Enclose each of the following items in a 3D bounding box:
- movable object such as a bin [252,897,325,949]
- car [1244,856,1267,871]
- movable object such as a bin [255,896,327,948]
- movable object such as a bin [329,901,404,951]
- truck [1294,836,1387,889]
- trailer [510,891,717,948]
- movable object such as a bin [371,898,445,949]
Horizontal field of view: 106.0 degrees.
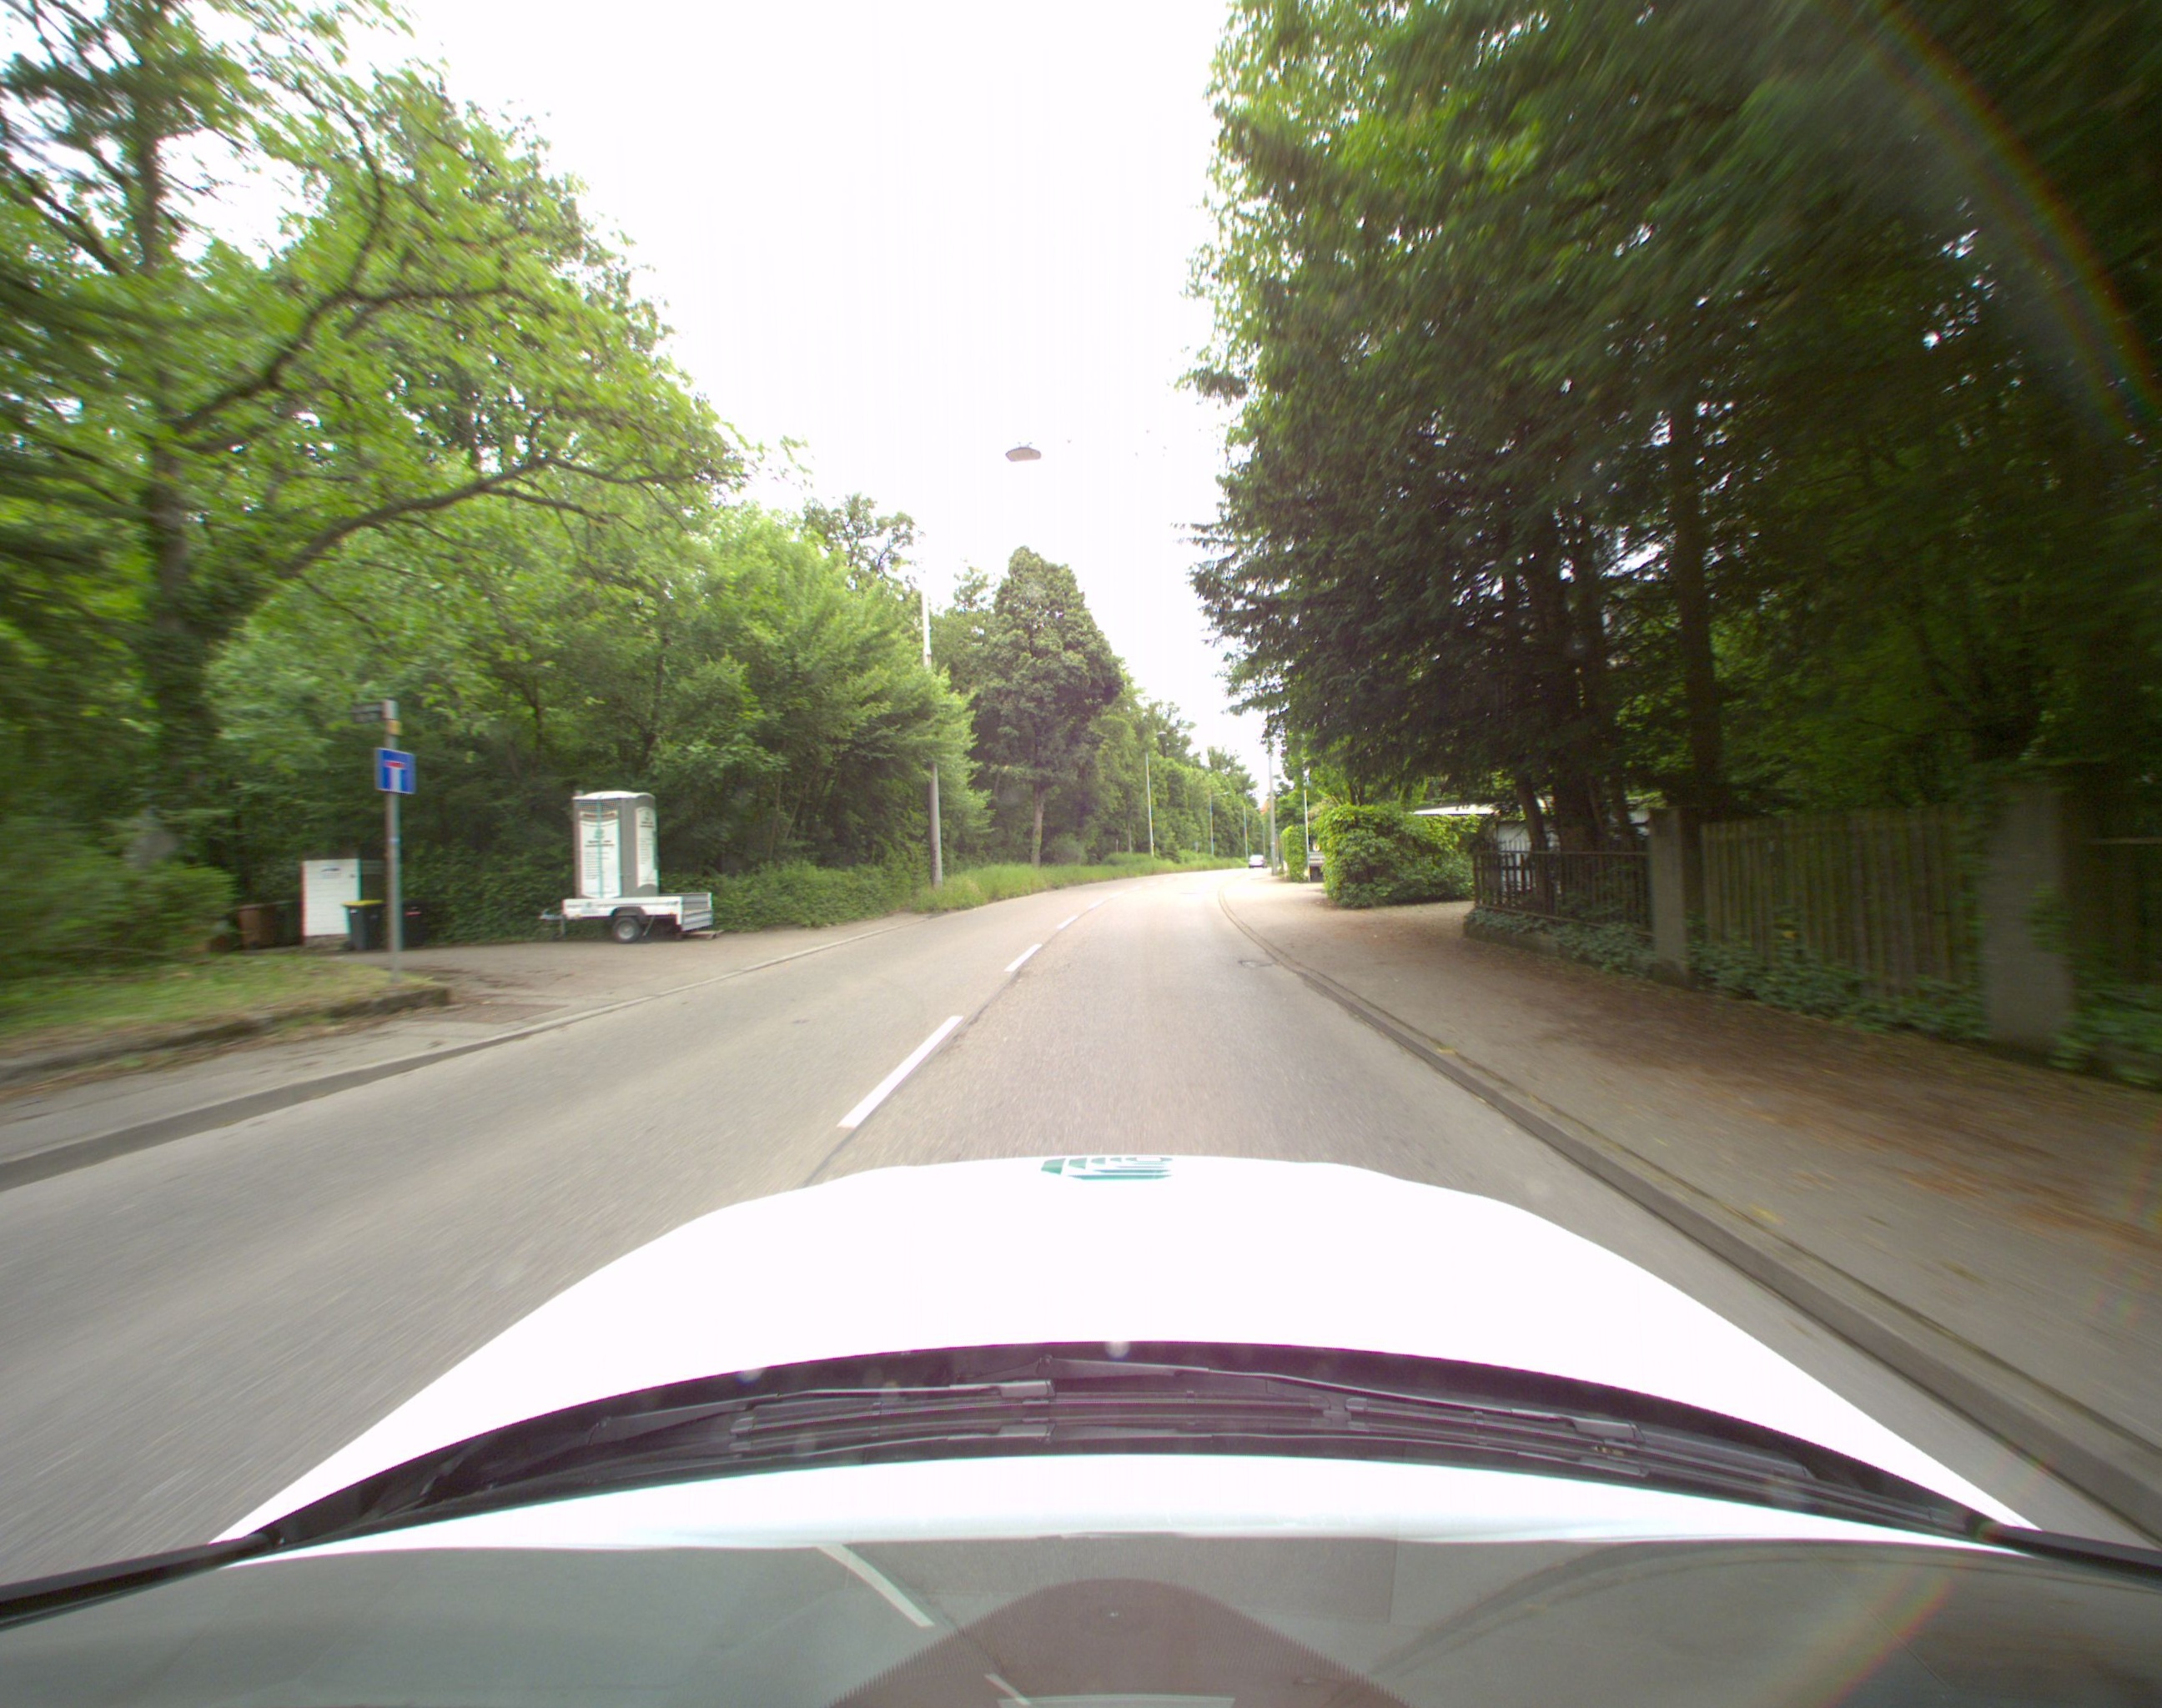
[{"bbox_3d":[-16.654,1.438,17.129,0.629,1.005,0.862,-2,0,9],"label":"movable object such as a bin"},{"bbox_3d":[19.114,1.031,89.032,1.977,1.486,4.019,-2,0,19],"label":"car"},{"bbox_3d":[-16.741,1.434,17.267,0.629,1.005,0.862,-2,0,9],"label":"movable object such as a bin"},{"bbox_3d":[-13.625,1.361,15.549,0.629,0.876,0.862,-2,0,9],"label":"movable object such as a bin"},{"bbox_3d":[9.001,0.299,28.449,1.357,1.689,3.034,-2,0,-25],"label":"truck"},{"bbox_3d":[-8.518,1.179,15.051,2.953,0.828,1.472,-2,0,-8],"label":"trailer"},{"bbox_3d":[-12.891,1.321,15.618,0.629,0.876,0.862,-2,0,9],"label":"movable object such as a bin"}]
